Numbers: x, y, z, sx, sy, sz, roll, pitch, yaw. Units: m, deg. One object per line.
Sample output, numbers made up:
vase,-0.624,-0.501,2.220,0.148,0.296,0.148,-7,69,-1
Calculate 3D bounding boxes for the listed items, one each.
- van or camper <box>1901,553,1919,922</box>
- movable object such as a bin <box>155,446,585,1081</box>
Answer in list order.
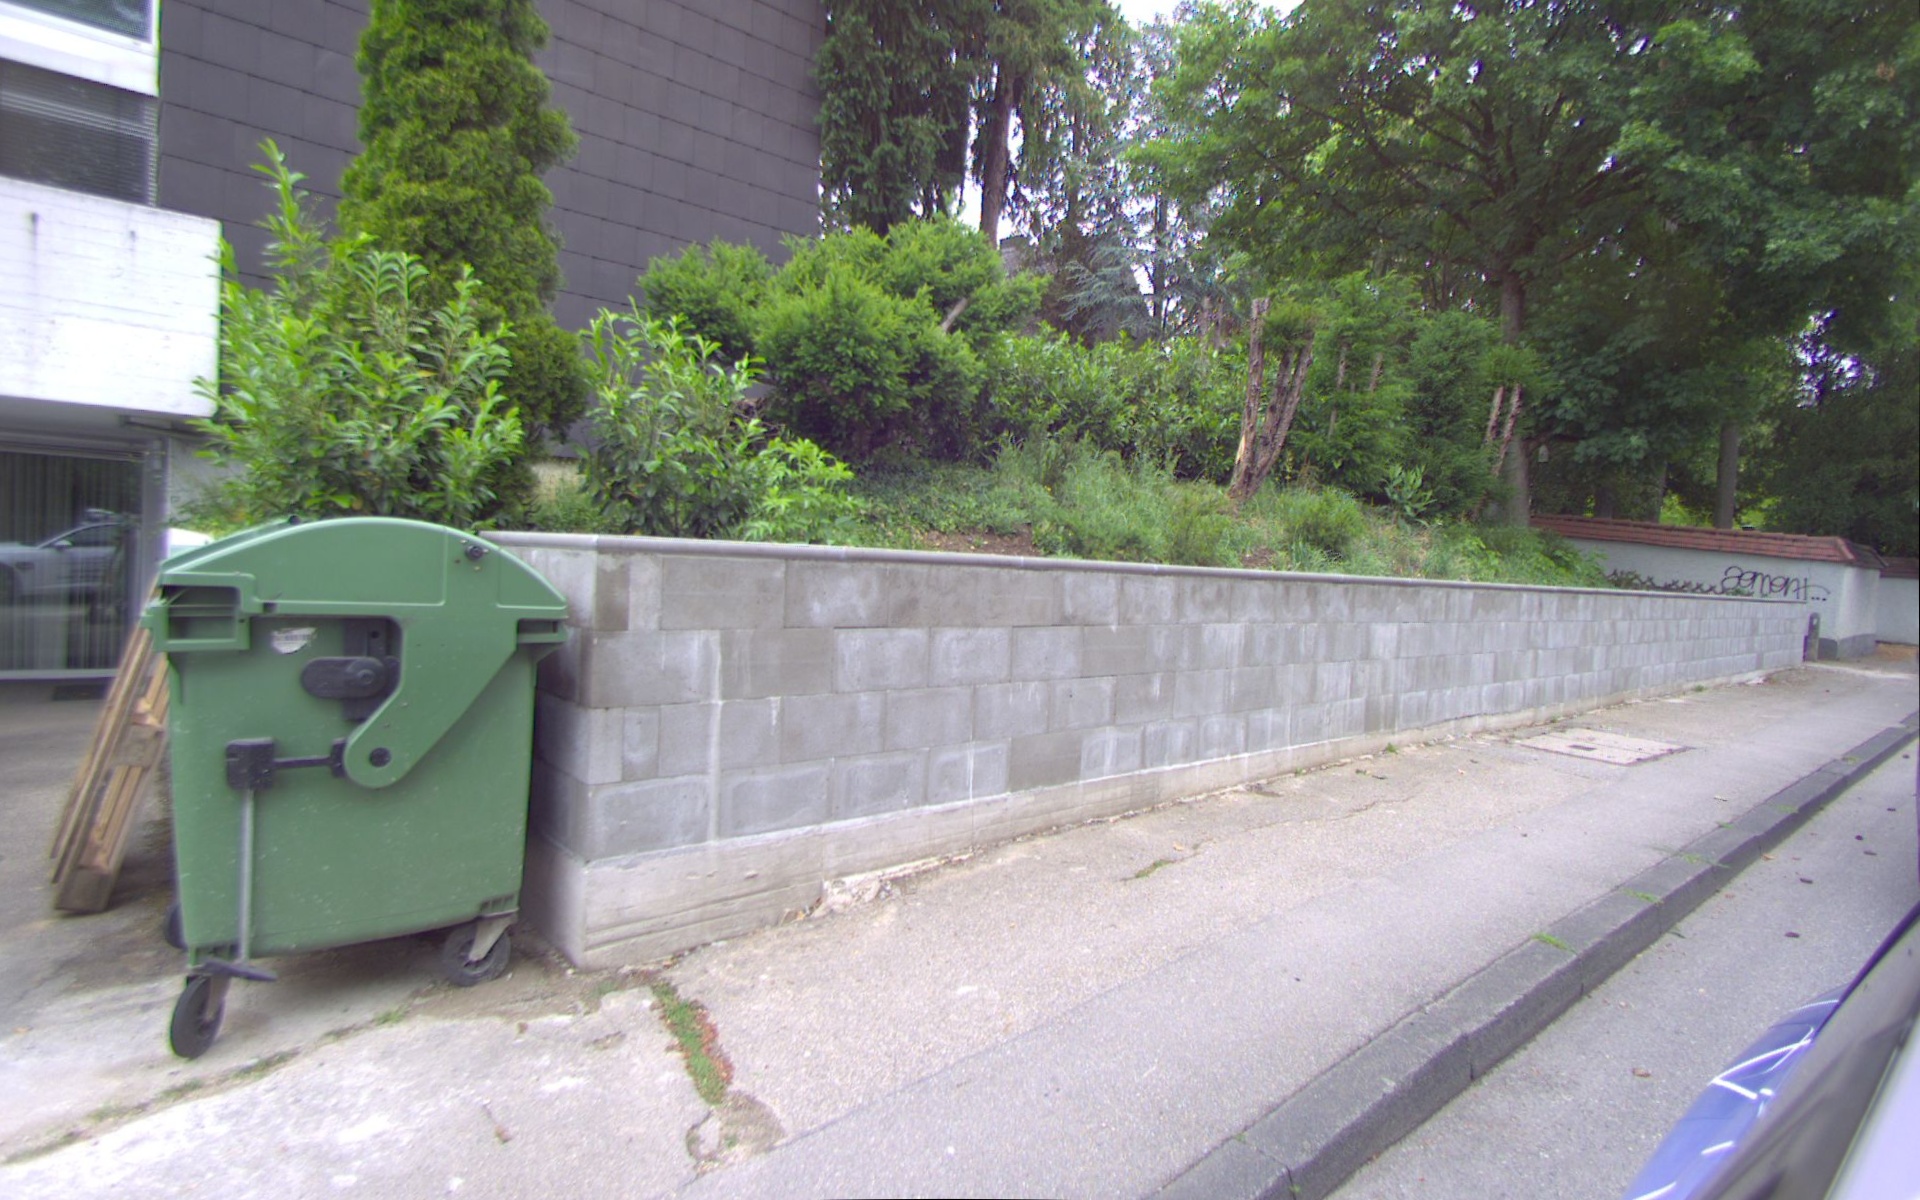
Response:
van or camper,6.119,0.530,4.904,4.125,1.693,1.800,0,3,-41
movable object such as a bin,-1.875,0.377,3.185,1.014,1.549,1.037,0,2,-39
